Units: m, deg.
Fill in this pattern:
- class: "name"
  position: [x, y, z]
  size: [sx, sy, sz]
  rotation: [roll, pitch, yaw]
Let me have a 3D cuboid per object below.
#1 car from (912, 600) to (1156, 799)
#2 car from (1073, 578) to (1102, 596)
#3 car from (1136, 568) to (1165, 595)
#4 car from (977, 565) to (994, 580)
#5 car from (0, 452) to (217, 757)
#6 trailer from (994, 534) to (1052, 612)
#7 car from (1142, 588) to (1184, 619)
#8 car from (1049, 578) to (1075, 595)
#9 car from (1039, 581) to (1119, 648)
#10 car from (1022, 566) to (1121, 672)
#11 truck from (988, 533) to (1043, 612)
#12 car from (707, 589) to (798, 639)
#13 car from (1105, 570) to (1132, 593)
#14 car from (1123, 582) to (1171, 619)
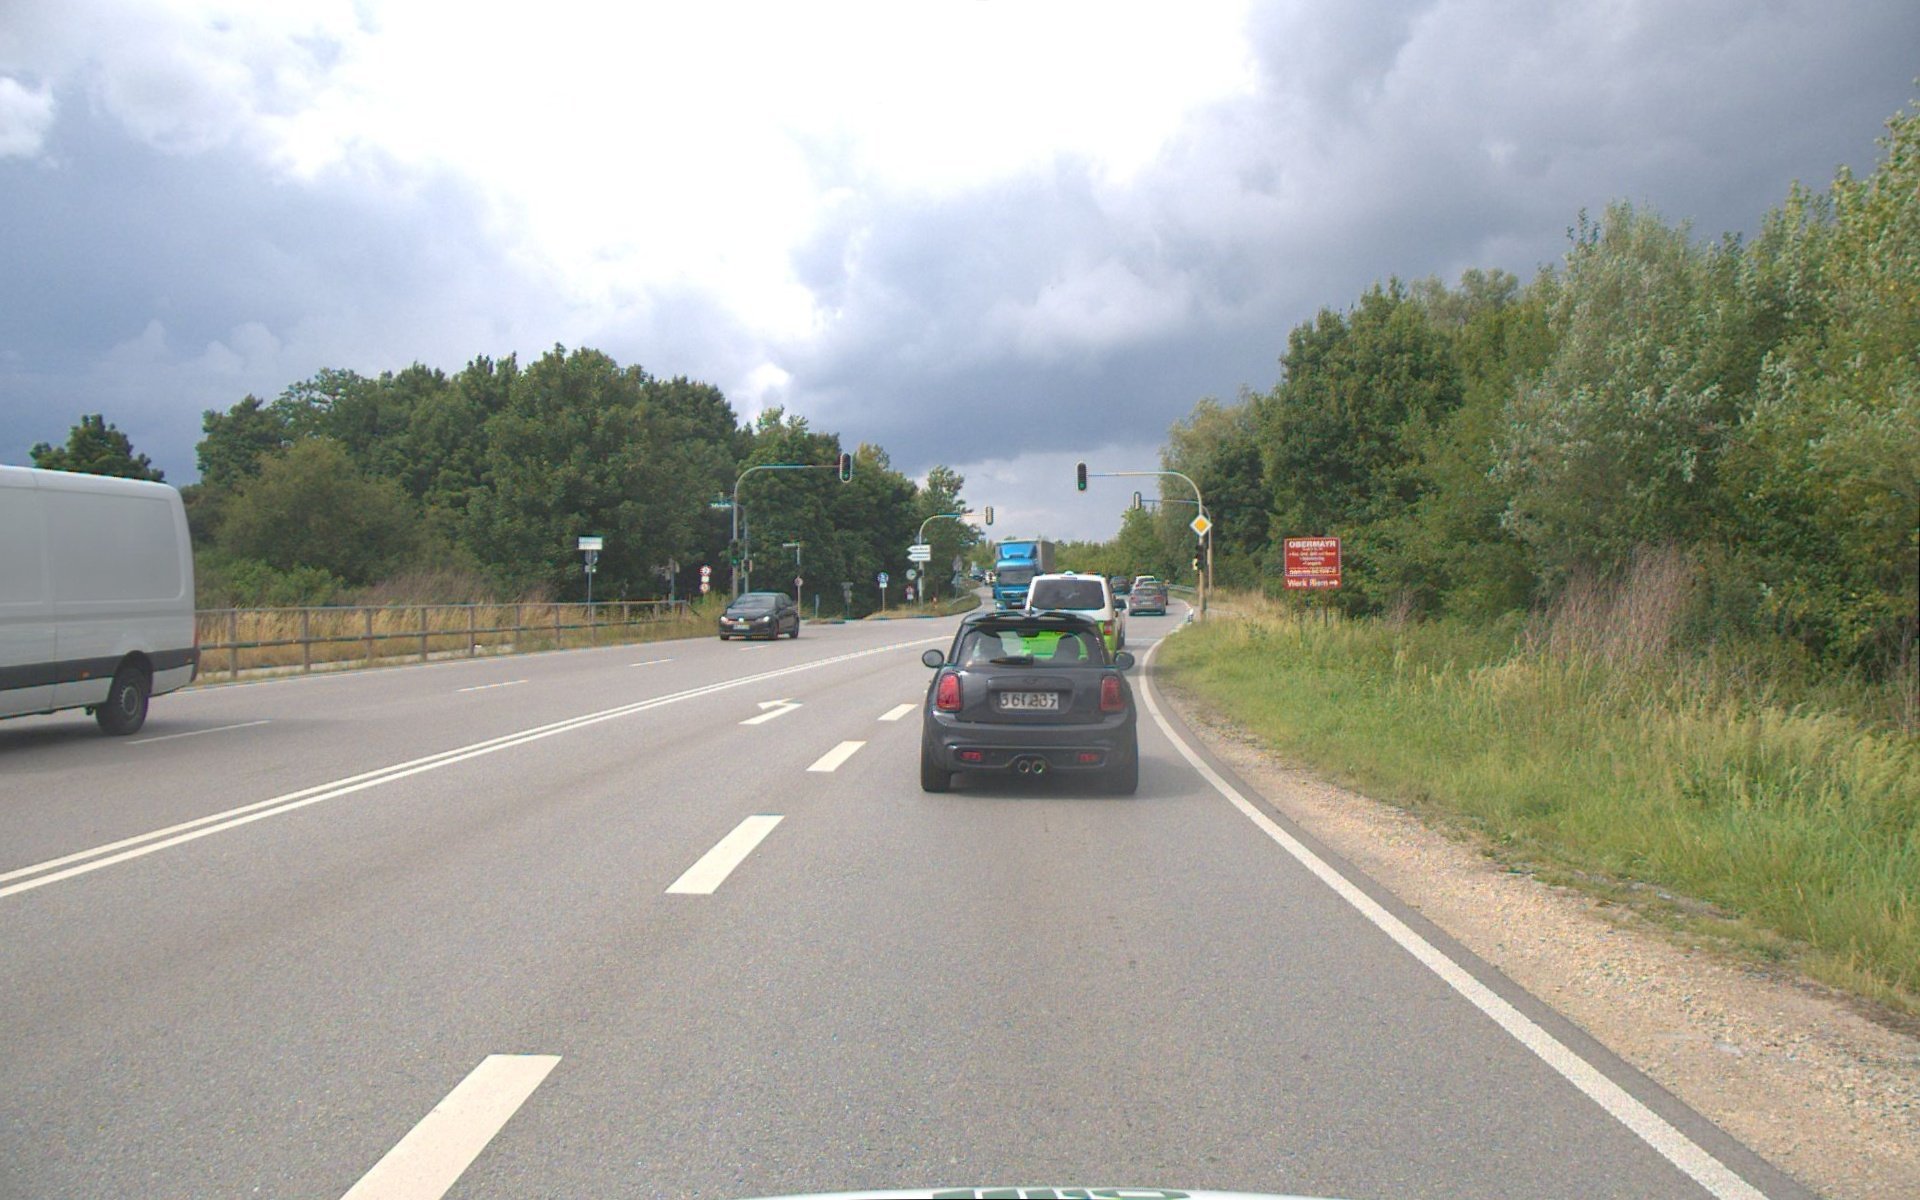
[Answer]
- class: "car"
  position: [0.569, 0.743, 14.272]
  size: [1.807, 1.453, 3.841]
  rotation: [1, 0, 0]
- class: "car"
  position: [11.923, -1.212, 155.013]
  size: [1.955, 1.725, 4.480]
  rotation: [0, 0, -6]
- class: "car"
  position: [13.670, -1.300, 118.573]
  size: [1.951, 1.713, 4.003]
  rotation: [1, -1, 8]
- class: "car"
  position: [3.772, -4.029, 243.859]
  size: [2.138, 2.049, 3.994]
  rotation: [1, -1, -6]
- class: "car"
  position: [-9.738, 0.037, 15.349]
  size: [2.383, 2.721, 6.889]
  rotation: [0, 0, 2]
- class: "trailer"
  position: [3.548, -1.458, 92.256]
  size: [2.473, 4.172, 6.741]
  rotation: [0, 0, 9]
- class: "car"
  position: [12.120, 0.231, 98.540]
  size: [1.951, 1.713, 3.980]
  rotation: [1, -1, 14]
- class: "car"
  position: [10.589, -1.418, 172.190]
  size: [1.956, 1.725, 4.478]
  rotation: [0, 0, -8]
- class: "car"
  position: [3.228, 0.397, 44.227]
  size: [1.951, 1.713, 4.003]
  rotation: [0, -1, 6]
- class: "car"
  position: [2.319, 0.342, 33.676]
  size: [1.806, 2.021, 3.844]
  rotation: [0, 1, 7]
- class: "truck"
  position: [3.013, -1.452, 88.952]
  size: [2.485, 4.168, 4.003]
  rotation: [0, 0, 9]
- class: "car"
  position: [-6.401, 0.415, 51.392]
  size: [1.904, 1.466, 4.003]
  rotation: [0, 0, 7]
- class: "car"
  position: [13.314, -1.555, 139.194]
  size: [1.952, 1.713, 4.000]
  rotation: [1, -1, 1]
- class: "car"
  position: [9.431, 0.039, 83.089]
  size: [1.951, 1.713, 4.003]
  rotation: [1, -1, 12]
